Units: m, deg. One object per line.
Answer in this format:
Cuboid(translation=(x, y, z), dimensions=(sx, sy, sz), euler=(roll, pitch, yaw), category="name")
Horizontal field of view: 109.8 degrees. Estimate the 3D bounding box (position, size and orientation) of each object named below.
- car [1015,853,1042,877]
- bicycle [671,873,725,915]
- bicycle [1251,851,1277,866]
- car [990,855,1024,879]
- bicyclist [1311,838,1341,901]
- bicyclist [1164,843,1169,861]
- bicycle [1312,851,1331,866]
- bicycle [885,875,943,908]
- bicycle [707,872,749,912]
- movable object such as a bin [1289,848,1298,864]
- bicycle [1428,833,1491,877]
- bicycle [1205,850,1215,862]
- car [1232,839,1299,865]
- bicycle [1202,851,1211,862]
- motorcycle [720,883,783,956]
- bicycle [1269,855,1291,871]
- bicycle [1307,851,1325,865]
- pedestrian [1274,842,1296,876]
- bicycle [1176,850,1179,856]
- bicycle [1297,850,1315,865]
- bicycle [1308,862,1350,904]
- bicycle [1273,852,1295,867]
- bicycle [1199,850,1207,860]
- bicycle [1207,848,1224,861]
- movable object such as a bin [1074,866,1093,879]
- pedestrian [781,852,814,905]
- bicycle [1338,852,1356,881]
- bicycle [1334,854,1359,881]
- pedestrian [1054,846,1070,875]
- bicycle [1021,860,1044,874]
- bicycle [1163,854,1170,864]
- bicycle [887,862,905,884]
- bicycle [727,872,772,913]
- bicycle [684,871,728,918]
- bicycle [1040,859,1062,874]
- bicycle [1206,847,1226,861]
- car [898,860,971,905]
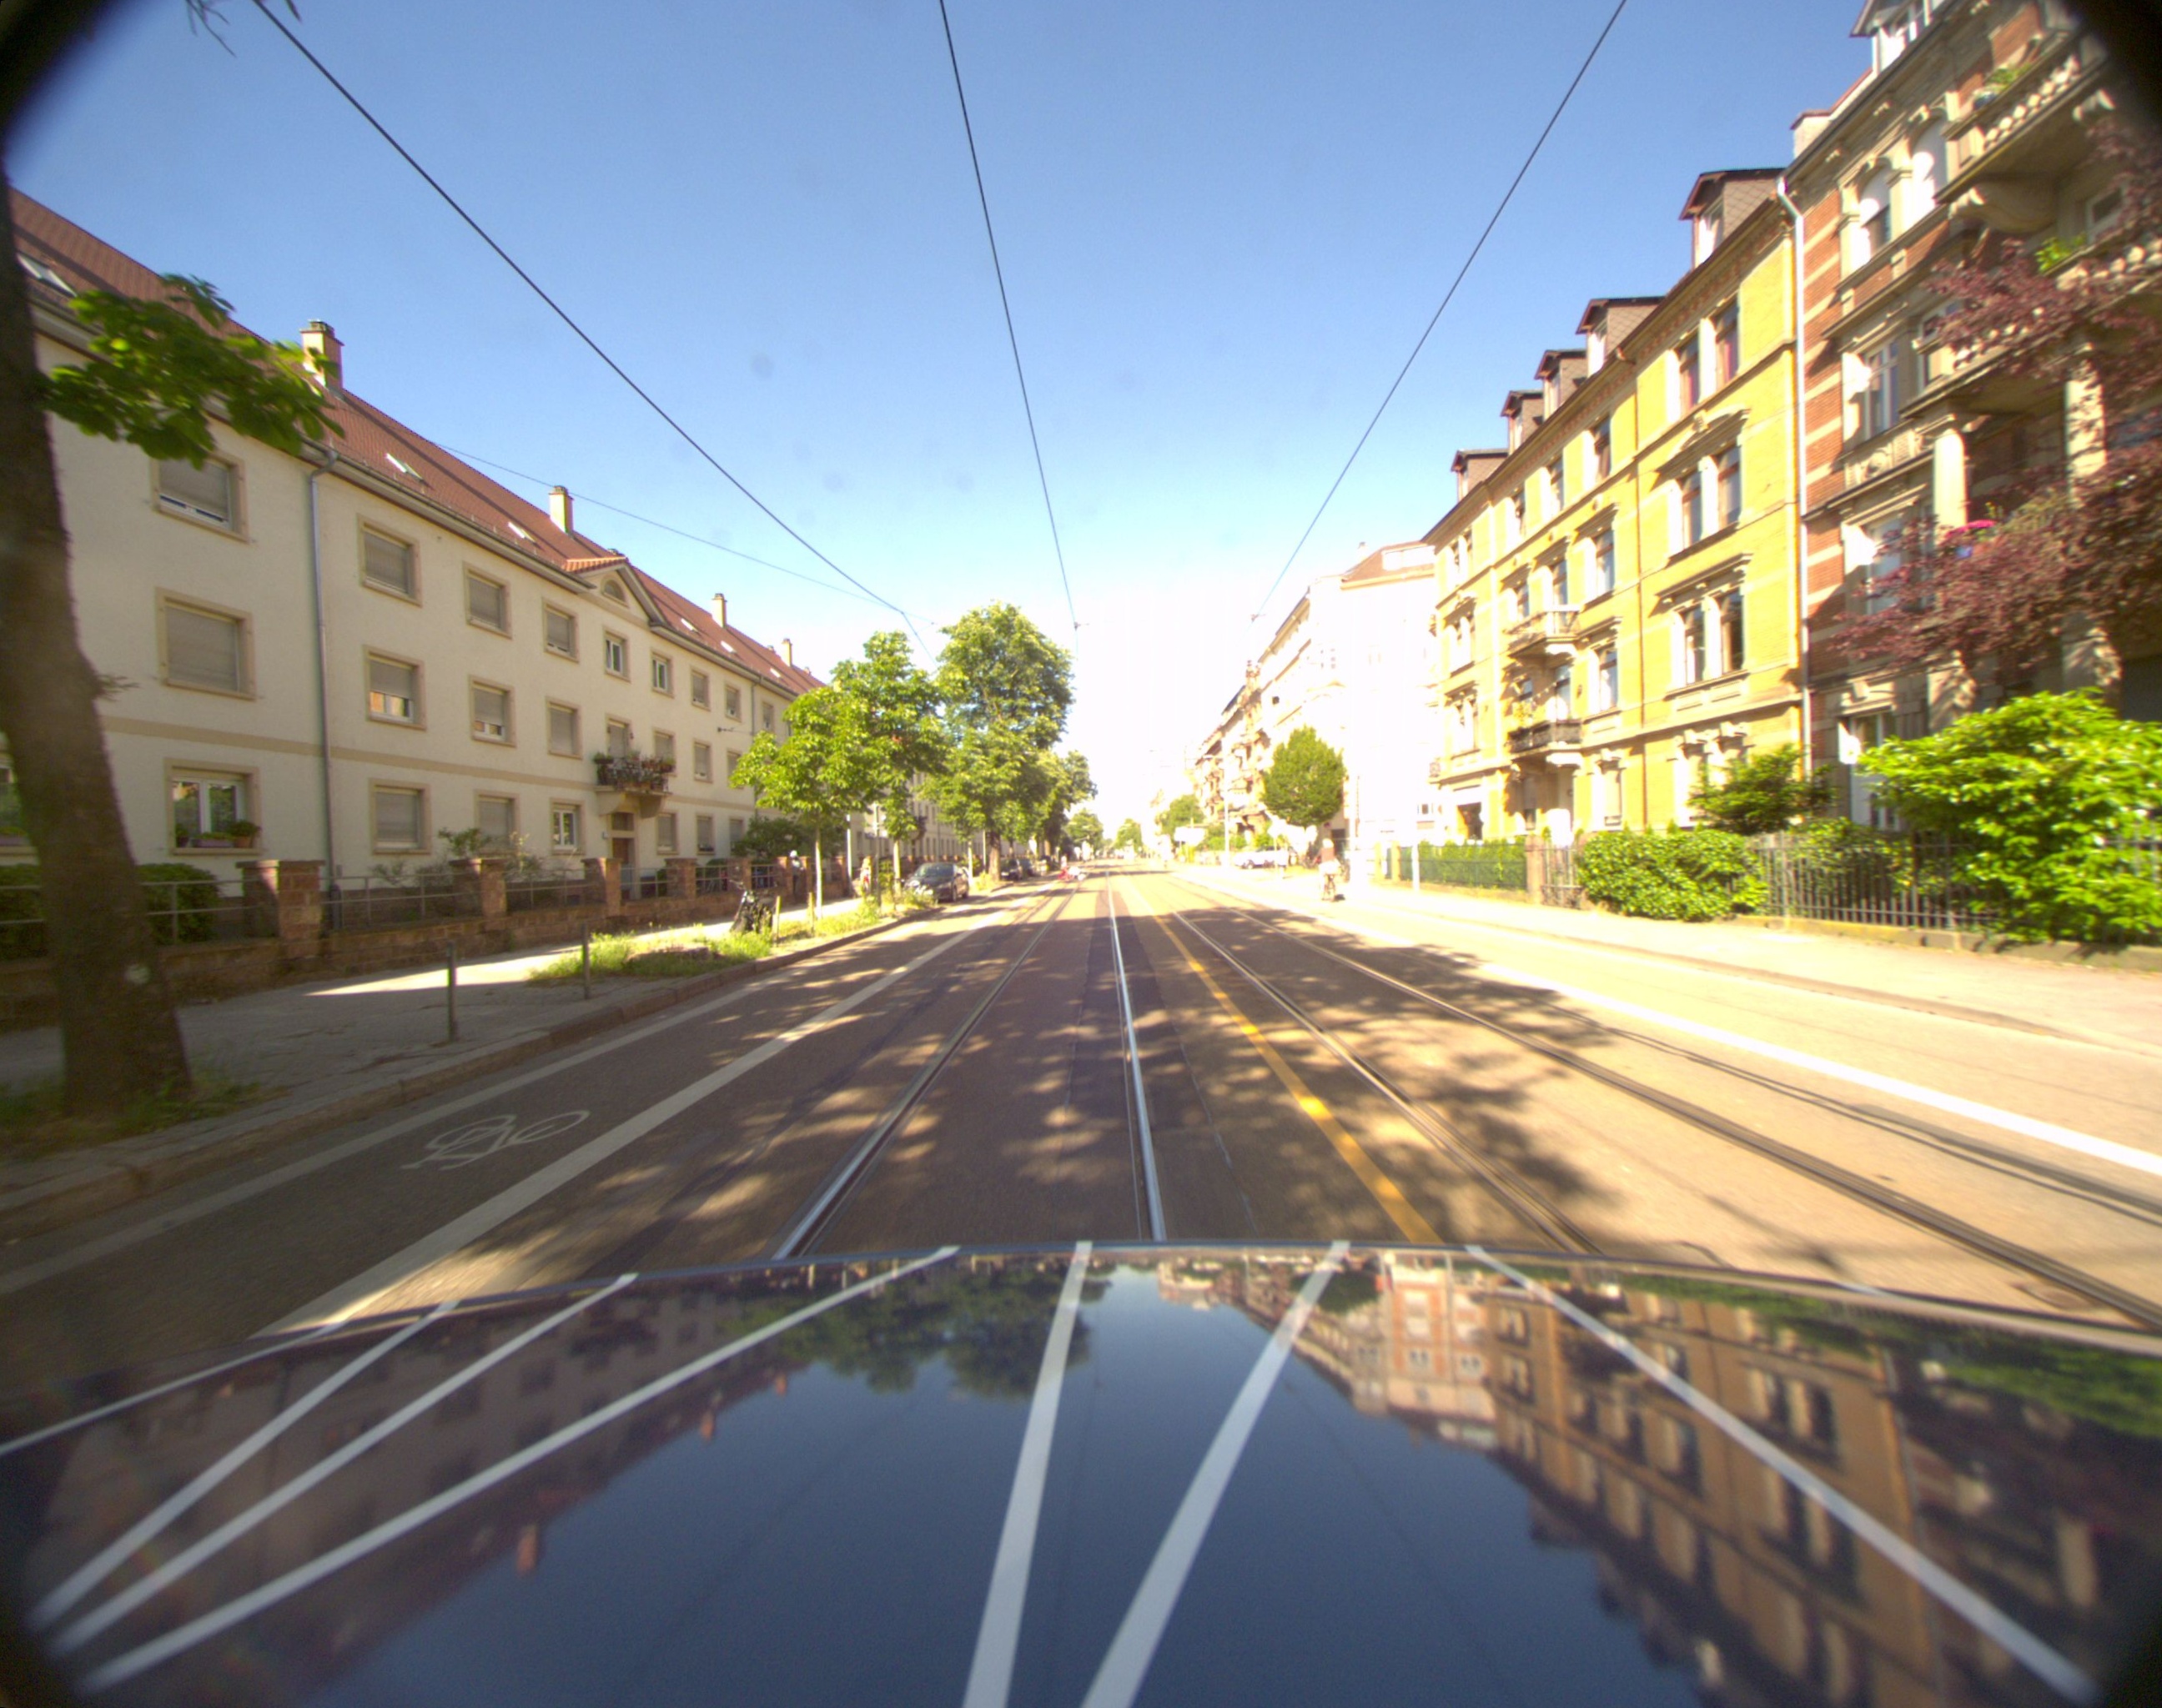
Cuboid(translation=(-4.016, 0.847, 59.150), dimensions=(1.669, 1.750, 4.231), euler=(-2, 0, 1), category="car")
Cuboid(translation=(-11.709, 1.197, 23.312), dimensions=(0.546, 1.146, 1.917), euler=(-3, 0, 2), category="bicycle")
Cuboid(translation=(12.340, 0.329, 51.154), dimensions=(1.791, 0.909, 0.619), euler=(-4, 3, -34), category="bicycle")
Cuboid(translation=(-4.735, 0.819, 49.130), dimensions=(1.724, 1.465, 4.246), euler=(-1, 0, 0), category="car")
Cuboid(translation=(7.046, 0.433, 21.859), dimensions=(0.662, 1.791, 0.616), euler=(0, 1, 2), category="bicyclist")
Cuboid(translation=(7.957, -0.170, 70.731), dimensions=(0.465, 1.609, 0.744), euler=(0, 1, 2), category="bicyclist")
Cuboid(translation=(16.247, 0.312, 51.328), dimensions=(1.545, 0.909, 0.246), euler=(-4, 3, -34), category="bicycle")
Cuboid(translation=(-5.568, 1.245, 25.388), dimensions=(1.798, 1.061, 0.620), euler=(0, 1, -3), category="bicycle")
Cuboid(translation=(-10.833, 1.146, 23.345), dimensions=(0.442, 1.146, 1.574), euler=(-3, 0, 2), category="bicycle")
Cuboid(translation=(14.541, 0.128, 52.007), dimensions=(0.577, 1.064, 0.717), euler=(-3, 1, 15), category="movable object such as a bin")
Cuboid(translation=(12.427, 0.039, 24.956), dimensions=(1.767, 1.313, 0.613), euler=(-3, 1, -7), category="bicycle")
Cuboid(translation=(11.947, 0.182, 70.546), dimensions=(0.564, 1.027, 1.767), euler=(-4, 0, 1), category="bicycle")
Cuboid(translation=(13.578, -0.179, 56.080), dimensions=(4.455, 1.634, 1.967), euler=(-3, 1, 5), category="car")
Cuboid(translation=(11.933, 0.207, 72.486), dimensions=(0.564, 1.027, 1.767), euler=(-4, 0, 1), category="bicycle")
Cuboid(translation=(-6.030, 1.164, 13.996), dimensions=(0.496, 1.184, 1.861), euler=(2, 0, -6), category="motorcycle")
Cuboid(translation=(12.639, 0.582, 48.164), dimensions=(1.297, 0.909, 0.619), euler=(-4, 3, -34), category="bicycle")
Cuboid(translation=(15.937, 0.272, 51.542), dimensions=(1.545, 0.909, 0.246), euler=(-4, 3, -34), category="bicycle")
Cuboid(translation=(10.942, 0.261, 40.791), dimensions=(0.831, 1.714, 1.082), euler=(-3, 2, 2), category="pedestrian")
Cuboid(translation=(14.863, -0.179, 116.590), dimensions=(0.342, 0.920, 1.943), euler=(-3, 0, 6), category="bicycle")
Cuboid(translation=(14.623, 0.213, 49.426), dimensions=(0.619, 0.909, 1.297), euler=(0, 3, 40), category="bicycle")
Cuboid(translation=(7.074, 0.803, 21.730), dimensions=(0.693, 1.106, 1.718), euler=(-1, 0, 2), category="bicycle")
Cuboid(translation=(13.337, 0.364, 49.914), dimensions=(1.297, 0.909, 0.619), euler=(-4, 3, -34), category="bicycle")
Cuboid(translation=(12.248, 0.117, 76.315), dimensions=(0.564, 1.027, 1.768), euler=(-4, -1, 2), category="bicycle")
Cuboid(translation=(11.792, 0.063, 66.709), dimensions=(0.565, 1.027, 1.765), euler=(-6, 0, -23), category="bicycle")
Cuboid(translation=(0.162, 1.087, 45.562), dimensions=(0.921, 0.739, 0.668), euler=(2, 1, 29), category="movable object such as a bin")
Cuboid(translation=(-9.489, 0.832, 25.416), dimensions=(0.763, 1.714, 0.581), euler=(-3, 1, 31), category="pedestrian")
Cuboid(translation=(10.587, 0.480, 30.255), dimensions=(0.371, 1.120, 0.809), euler=(-3, 1, 2), category="bicycle")
Cuboid(translation=(10.406, 0.525, 29.840), dimensions=(0.336, 0.995, 1.870), euler=(-3, 0, 2), category="bicycle")
Cuboid(translation=(-1.170, 0.396, 45.661), dimensions=(0.602, 1.760, 0.911), euler=(0, 1, -28), category="pedestrian")
Cuboid(translation=(-4.009, 1.050, 62.894), dimensions=(1.765, 1.071, 0.433), euler=(-3, 1, 3), category="bicycle")
Cuboid(translation=(7.979, 0.440, 70.731), dimensions=(0.461, 0.920, 2.203), euler=(-1, 0, 2), category="bicycle")
Cuboid(translation=(-10.588, 1.059, 43.611), dimensions=(0.544, 1.213, 1.741), euler=(-1, 0, 2), category="bicycle")
Cuboid(translation=(-10.191, 1.158, 23.423), dimensions=(0.449, 1.146, 1.917), euler=(-2, 0, 2), category="bicycle")
Cuboid(translation=(-10.697, 1.138, 21.725), dimensions=(0.349, 1.254, 1.425), euler=(-3, 0, 6), category="bicycle")
Cuboid(translation=(-2.467, 1.023, 62.389), dimensions=(1.765, 1.071, 0.433), euler=(-3, 1, 3), category="bicycle")
Cuboid(translation=(11.522, 0.009, 64.987), dimensions=(0.566, 1.027, 1.763), euler=(-3, -1, -35), category="bicycle")
Cuboid(translation=(-5.328, 1.002, 28.118), dimensions=(1.791, 1.455, 4.044), euler=(-1, 0, 2), category="car")
